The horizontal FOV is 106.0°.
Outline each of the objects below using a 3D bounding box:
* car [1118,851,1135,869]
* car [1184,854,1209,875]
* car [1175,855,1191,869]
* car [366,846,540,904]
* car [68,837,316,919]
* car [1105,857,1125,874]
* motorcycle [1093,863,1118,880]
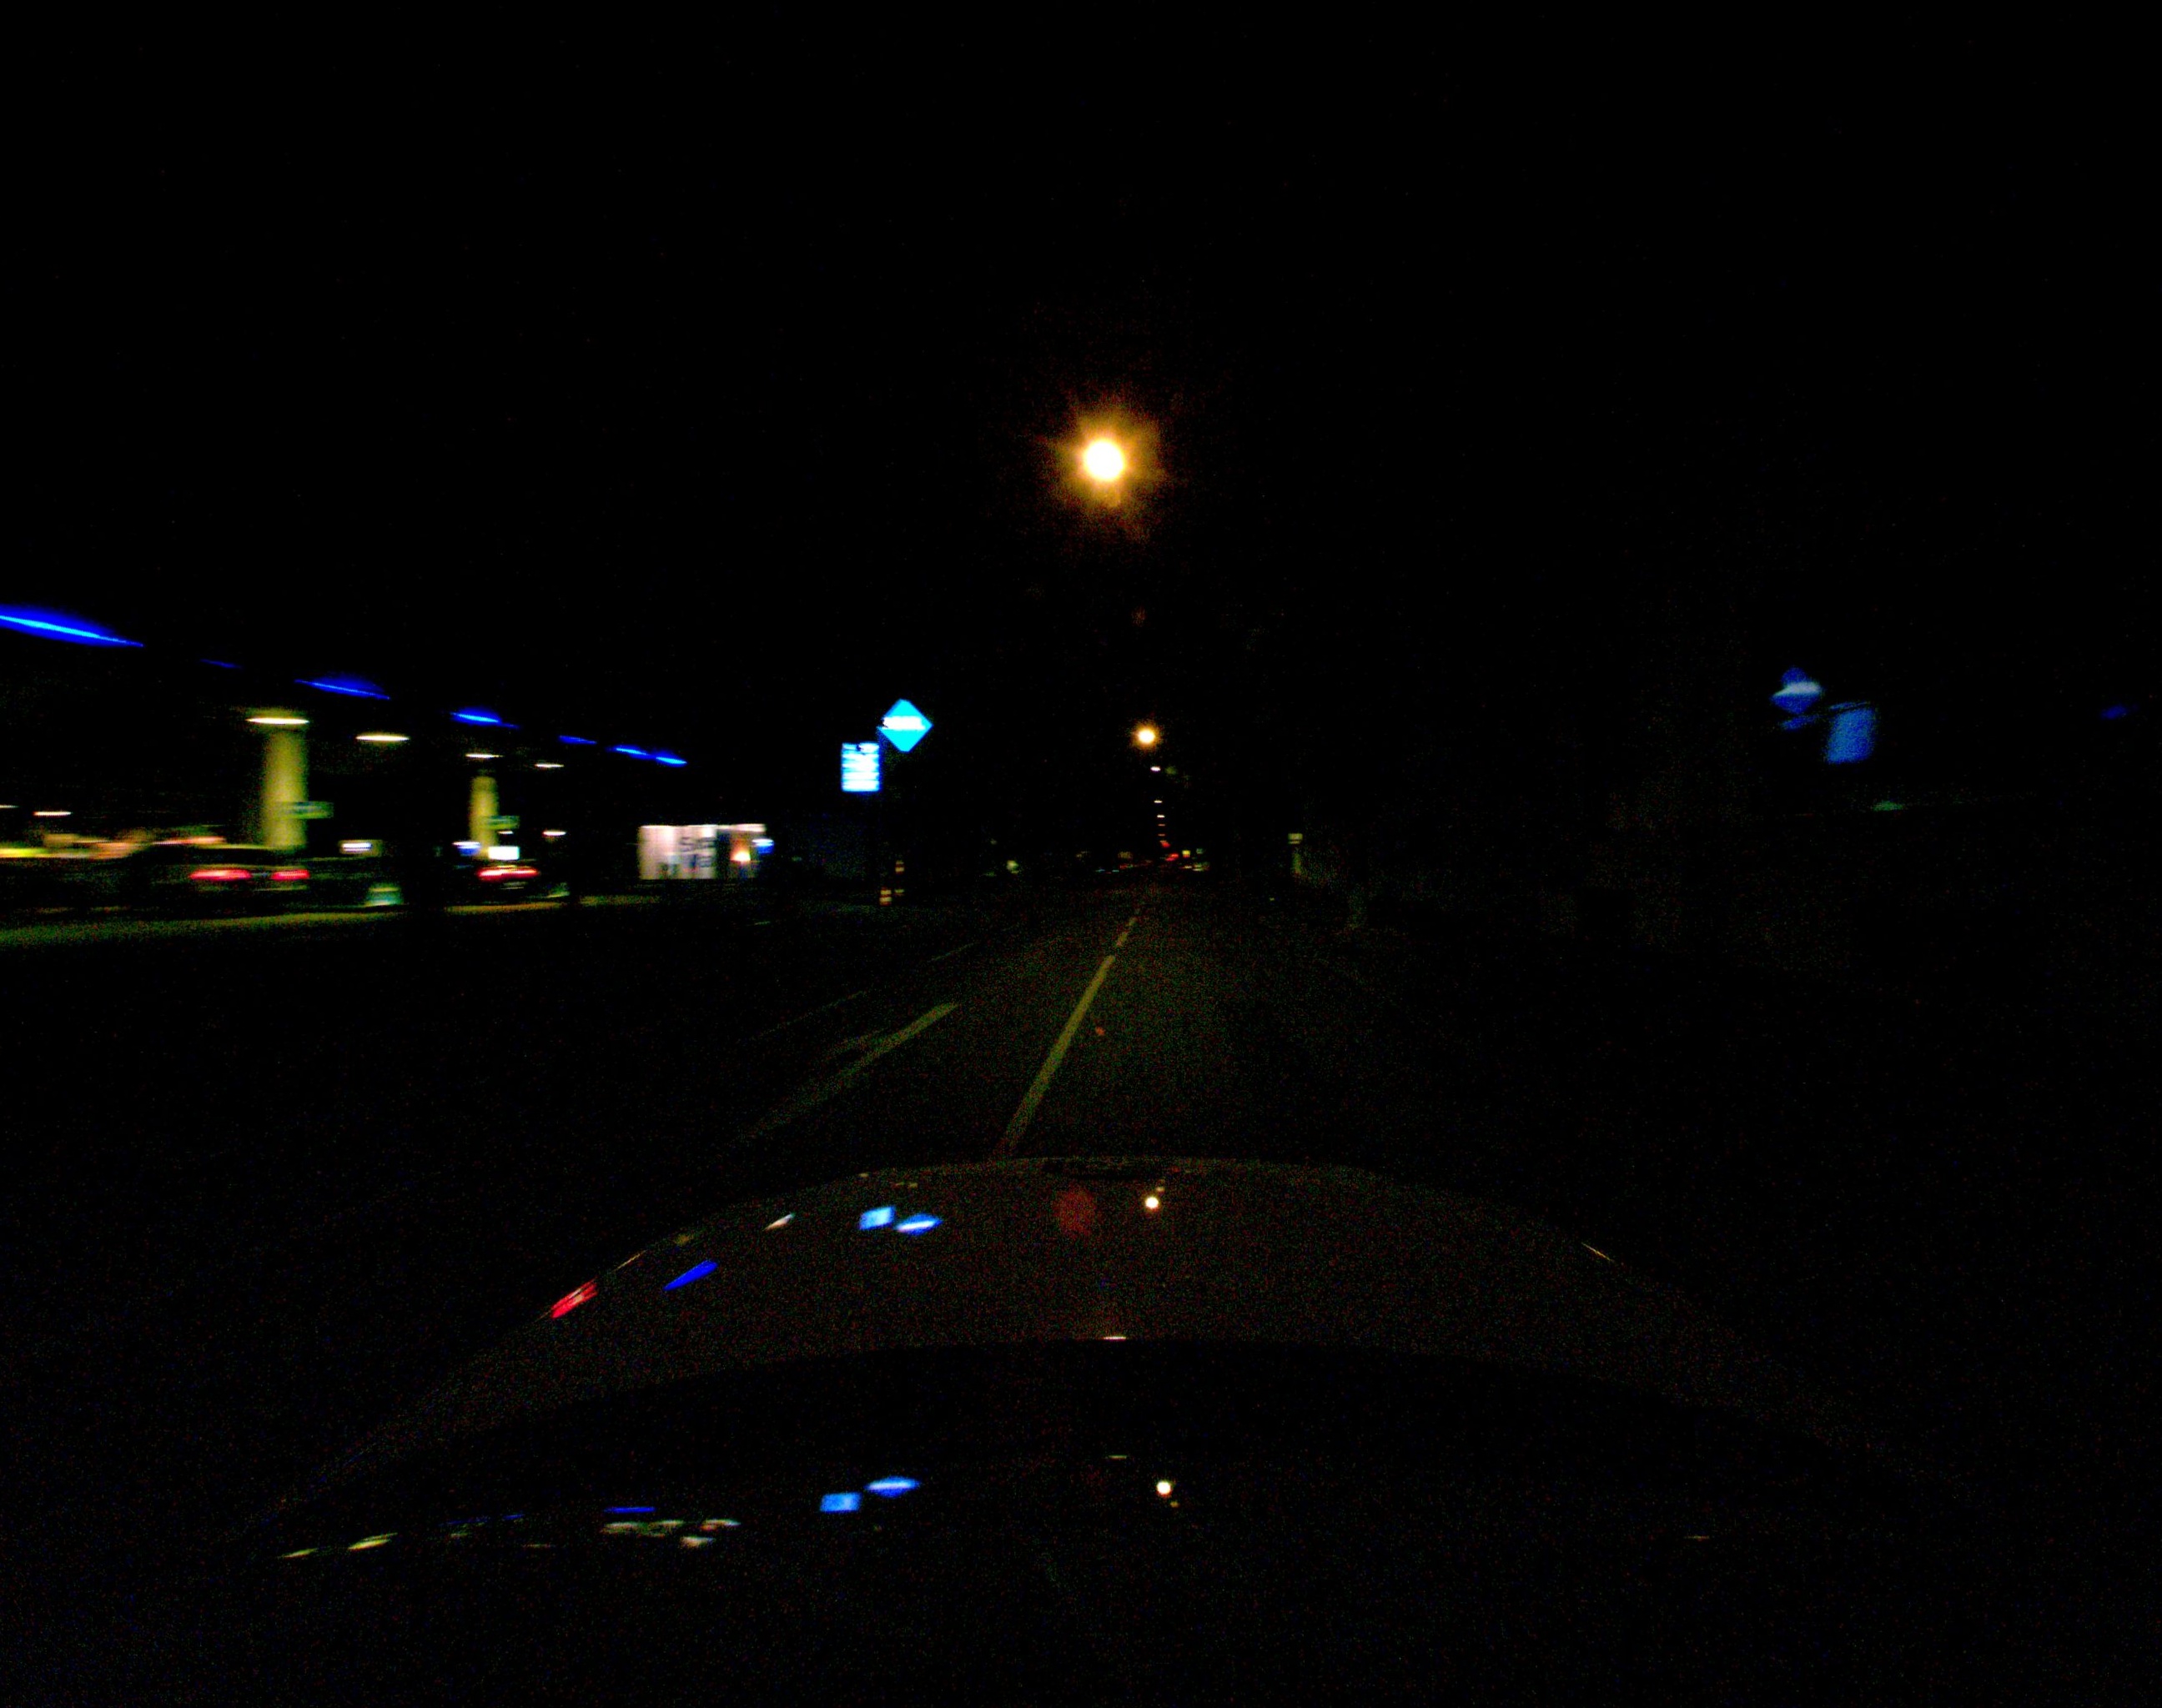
[{"bbox_3d":[6.087,0.829,108.767,1.984,2.415,4.490,-2,-1,5],"label":"car"},{"bbox_3d":[11.593,1.035,81.827,1.986,2.014,4.001,-2,-1,2],"label":"car"},{"bbox_3d":[15.512,1.235,124.155,1.986,2.014,4.001,-2,-1,2],"label":"car"},{"bbox_3d":[-19.864,0.647,25.891,3.970,1.663,2.002,1,-1,3],"label":"car"},{"bbox_3d":[-21.588,0.555,19.874,4.212,1.769,2.005,1,-1,8],"label":"car"},{"bbox_3d":[3.890,1.355,92.391,1.983,1.843,4.007,-2,-1,6],"label":"car"},{"bbox_3d":[2.128,1.539,71.517,2.024,1.392,0.870,-1,-2,-24],"label":"motorcycle"}]
